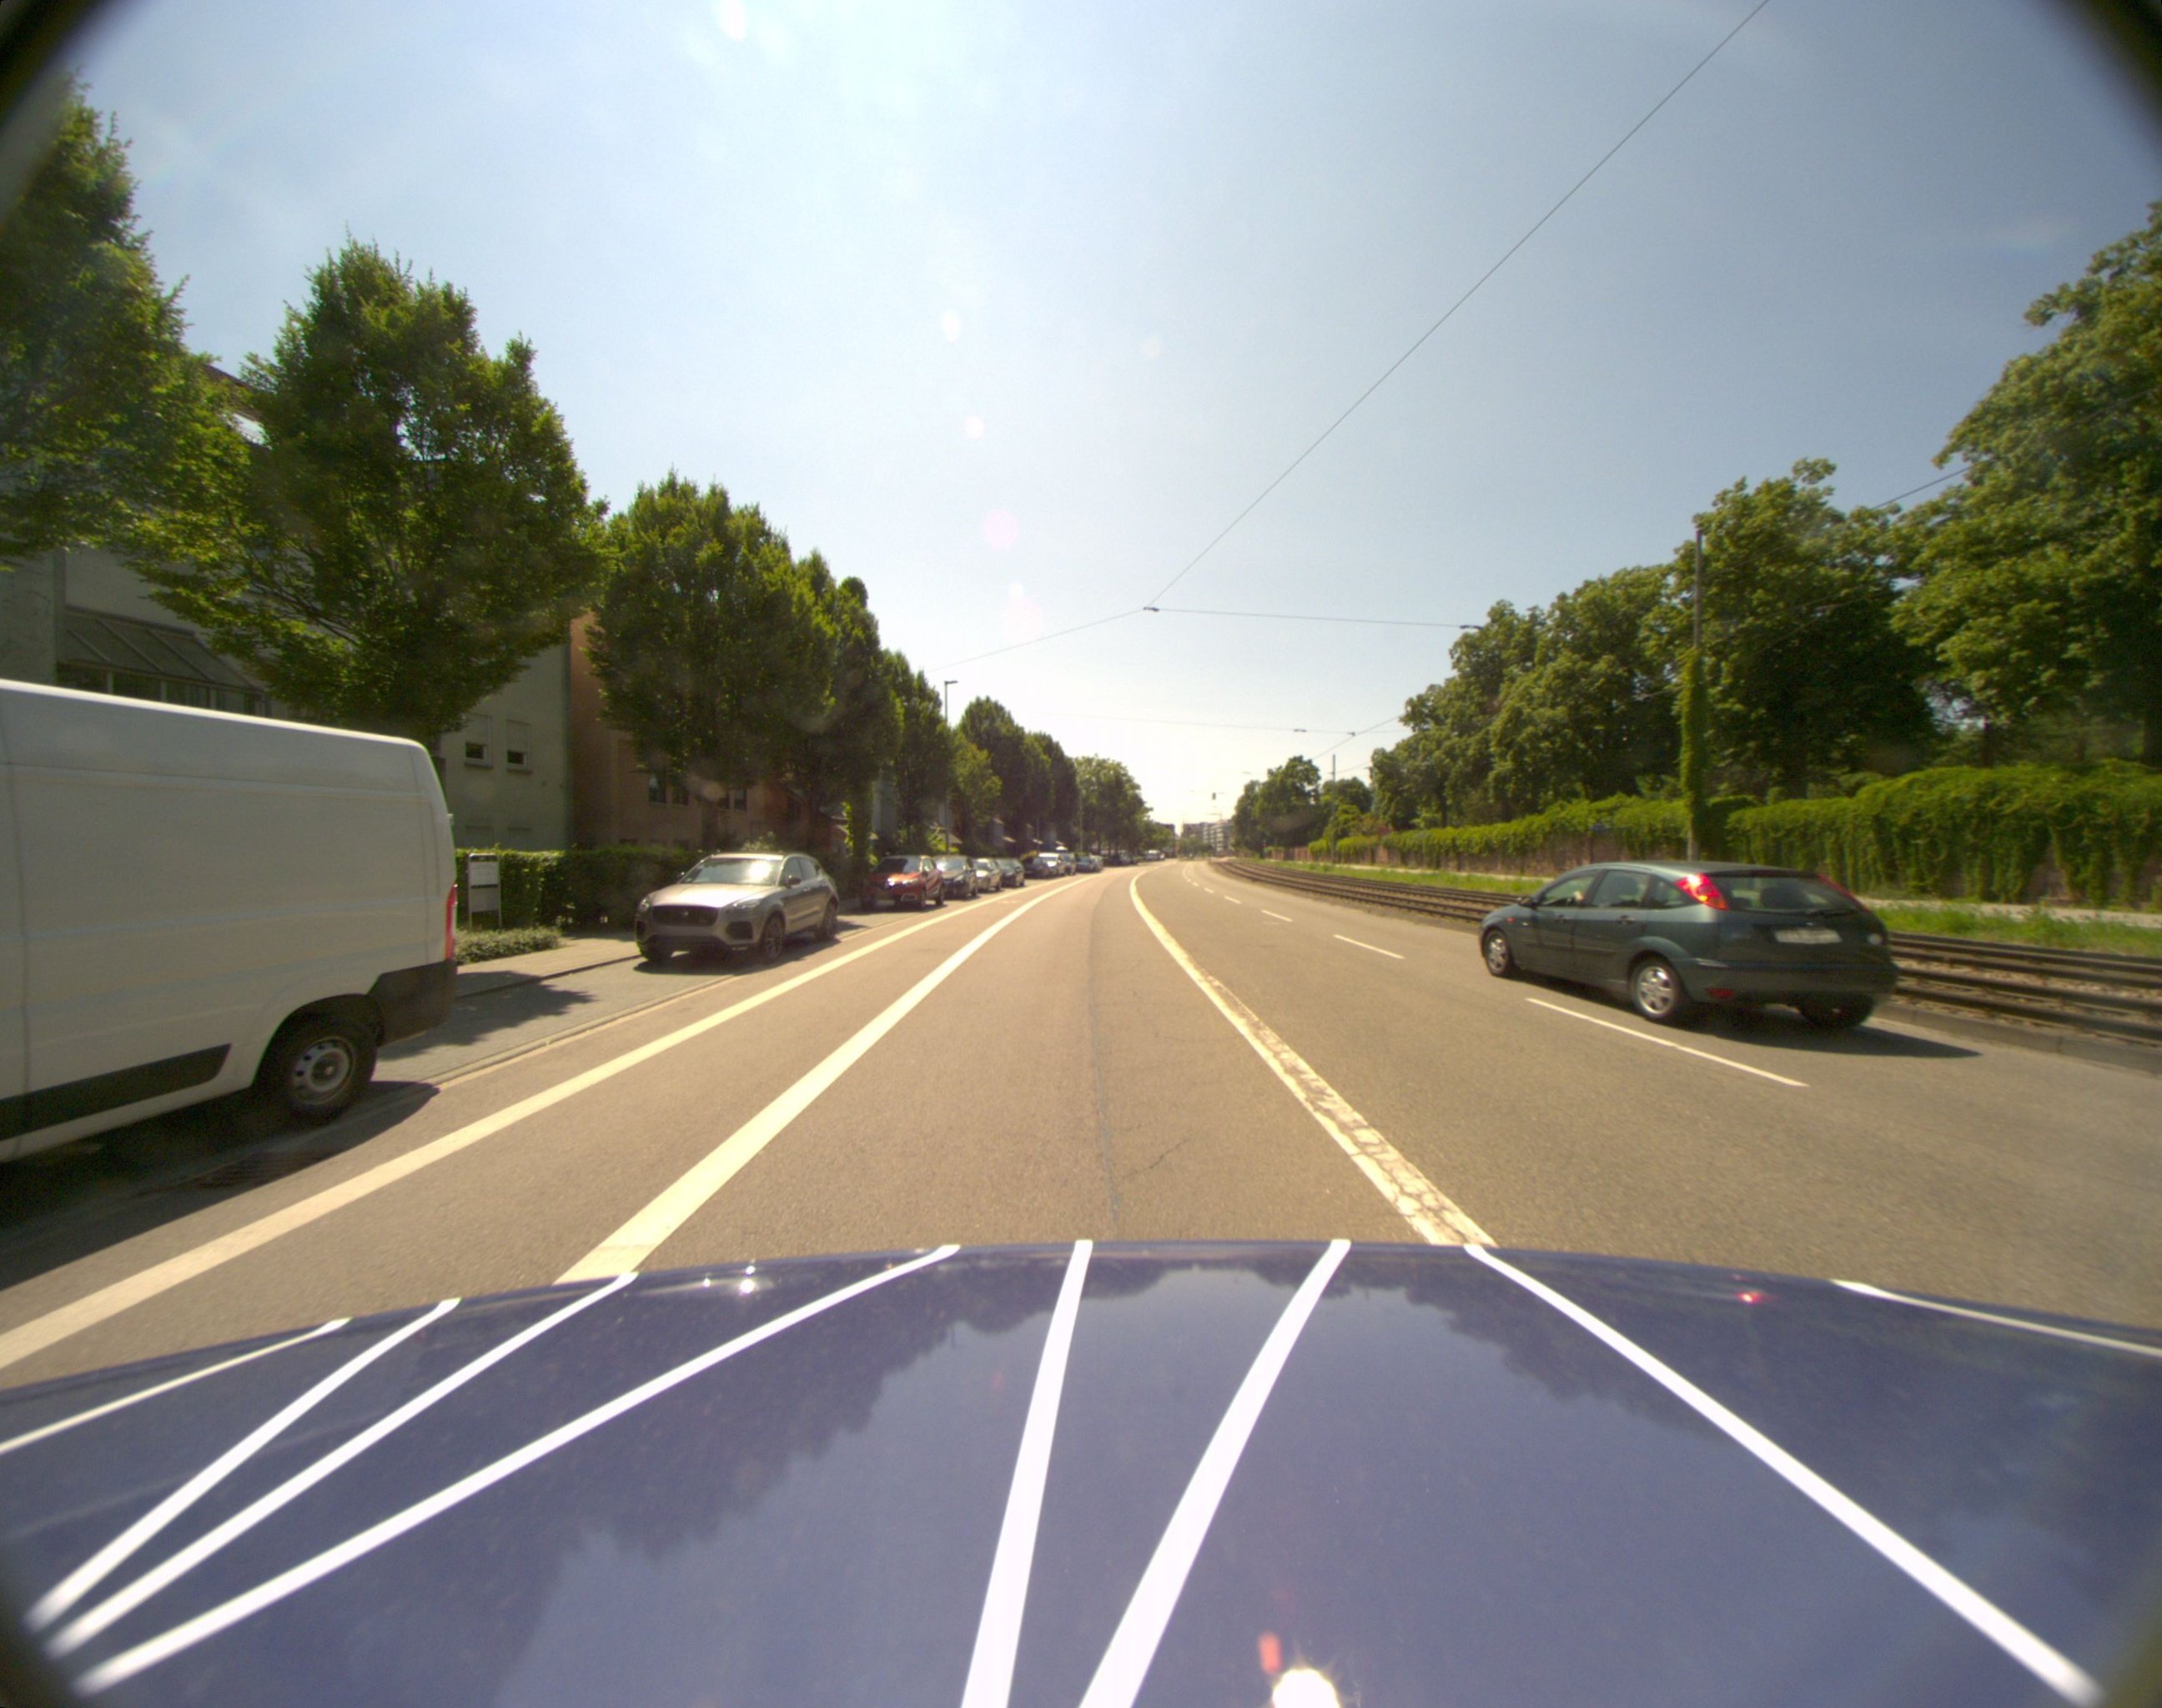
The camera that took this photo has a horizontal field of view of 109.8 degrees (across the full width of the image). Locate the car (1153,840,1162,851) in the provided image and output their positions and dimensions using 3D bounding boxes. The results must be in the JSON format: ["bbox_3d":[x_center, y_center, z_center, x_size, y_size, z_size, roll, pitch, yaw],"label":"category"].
[{"bbox_3d":[19.010,-2.069,188.784,2.001,2.621,6.082,1,1,9],"label":"car"}]

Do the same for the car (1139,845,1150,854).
[{"bbox_3d":[12.812,-0.968,152.702,1.715,1.623,4.710,1,2,9],"label":"car"}]

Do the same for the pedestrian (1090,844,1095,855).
[{"bbox_3d":[1.773,-0.745,120.427,0.749,1.712,0.633,-2,1,3],"label":"pedestrian"}]

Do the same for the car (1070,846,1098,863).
[{"bbox_3d":[0.310,0.041,72.740,1.843,1.520,4.219,1,1,11],"label":"car"}]

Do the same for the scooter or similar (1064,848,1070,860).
[{"bbox_3d":[-1.445,-0.009,80.014,0.385,1.272,1.339,-2,1,9],"label":"scooter or similar"}]

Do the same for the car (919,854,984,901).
[{"bbox_3d":[-4.823,0.824,28.896,1.711,1.553,4.323,1,1,0],"label":"car"}]

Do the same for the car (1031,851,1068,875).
[{"bbox_3d":[-2.283,0.623,56.444,1.844,1.684,4.781,1,1,9],"label":"car"}]

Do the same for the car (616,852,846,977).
[{"bbox_3d":[-5.411,0.822,12.460,1.760,1.621,4.323,1,1,0],"label":"car"}]

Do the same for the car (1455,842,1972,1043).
[{"bbox_3d":[5.894,0.656,7.969,1.760,1.500,4.323,1,1,0],"label":"car"}]

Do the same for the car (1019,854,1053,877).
[{"bbox_3d":[-3.009,0.753,51.364,1.586,1.415,4.181,1,1,6],"label":"car"}]

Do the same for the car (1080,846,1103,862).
[{"bbox_3d":[1.087,0.014,77.623,1.844,1.520,4.968,1,1,6],"label":"car"}]

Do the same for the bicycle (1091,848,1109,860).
[{"bbox_3d":[2.114,0.030,84.698,1.776,1.221,0.684,4,2,13],"label":"bicycle"}]

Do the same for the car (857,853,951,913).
[{"bbox_3d":[-5.214,0.802,22.890,1.711,1.553,4.323,1,1,1],"label":"car"}]

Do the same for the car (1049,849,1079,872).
[{"bbox_3d":[-1.374,0.471,62.886,1.844,1.783,4.356,1,1,7],"label":"car"}]

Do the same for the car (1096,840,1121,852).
[{"bbox_3d":[6.430,-1.906,176.566,5.500,2.445,2.096,-3,1,10],"label":"car"}]

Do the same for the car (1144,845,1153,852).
[{"bbox_3d":[14.701,-1.191,164.617,1.715,1.410,4.710,1,1,7],"label":"car"}]

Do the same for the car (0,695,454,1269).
[{"bbox_3d":[-5.576,0.534,2.524,2.006,2.443,6.108,1,1,-1],"label":"car"}]

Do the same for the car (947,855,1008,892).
[{"bbox_3d":[-4.567,0.819,34.166,1.710,1.484,4.732,1,1,4],"label":"car"}]

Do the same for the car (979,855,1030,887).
[{"bbox_3d":[-3.921,0.831,39.849,1.710,1.484,5.040,1,1,5],"label":"car"}]

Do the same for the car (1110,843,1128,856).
[{"bbox_3d":[5.172,-0.599,104.080,1.843,1.696,4.629,1,1,10],"label":"car"}]
